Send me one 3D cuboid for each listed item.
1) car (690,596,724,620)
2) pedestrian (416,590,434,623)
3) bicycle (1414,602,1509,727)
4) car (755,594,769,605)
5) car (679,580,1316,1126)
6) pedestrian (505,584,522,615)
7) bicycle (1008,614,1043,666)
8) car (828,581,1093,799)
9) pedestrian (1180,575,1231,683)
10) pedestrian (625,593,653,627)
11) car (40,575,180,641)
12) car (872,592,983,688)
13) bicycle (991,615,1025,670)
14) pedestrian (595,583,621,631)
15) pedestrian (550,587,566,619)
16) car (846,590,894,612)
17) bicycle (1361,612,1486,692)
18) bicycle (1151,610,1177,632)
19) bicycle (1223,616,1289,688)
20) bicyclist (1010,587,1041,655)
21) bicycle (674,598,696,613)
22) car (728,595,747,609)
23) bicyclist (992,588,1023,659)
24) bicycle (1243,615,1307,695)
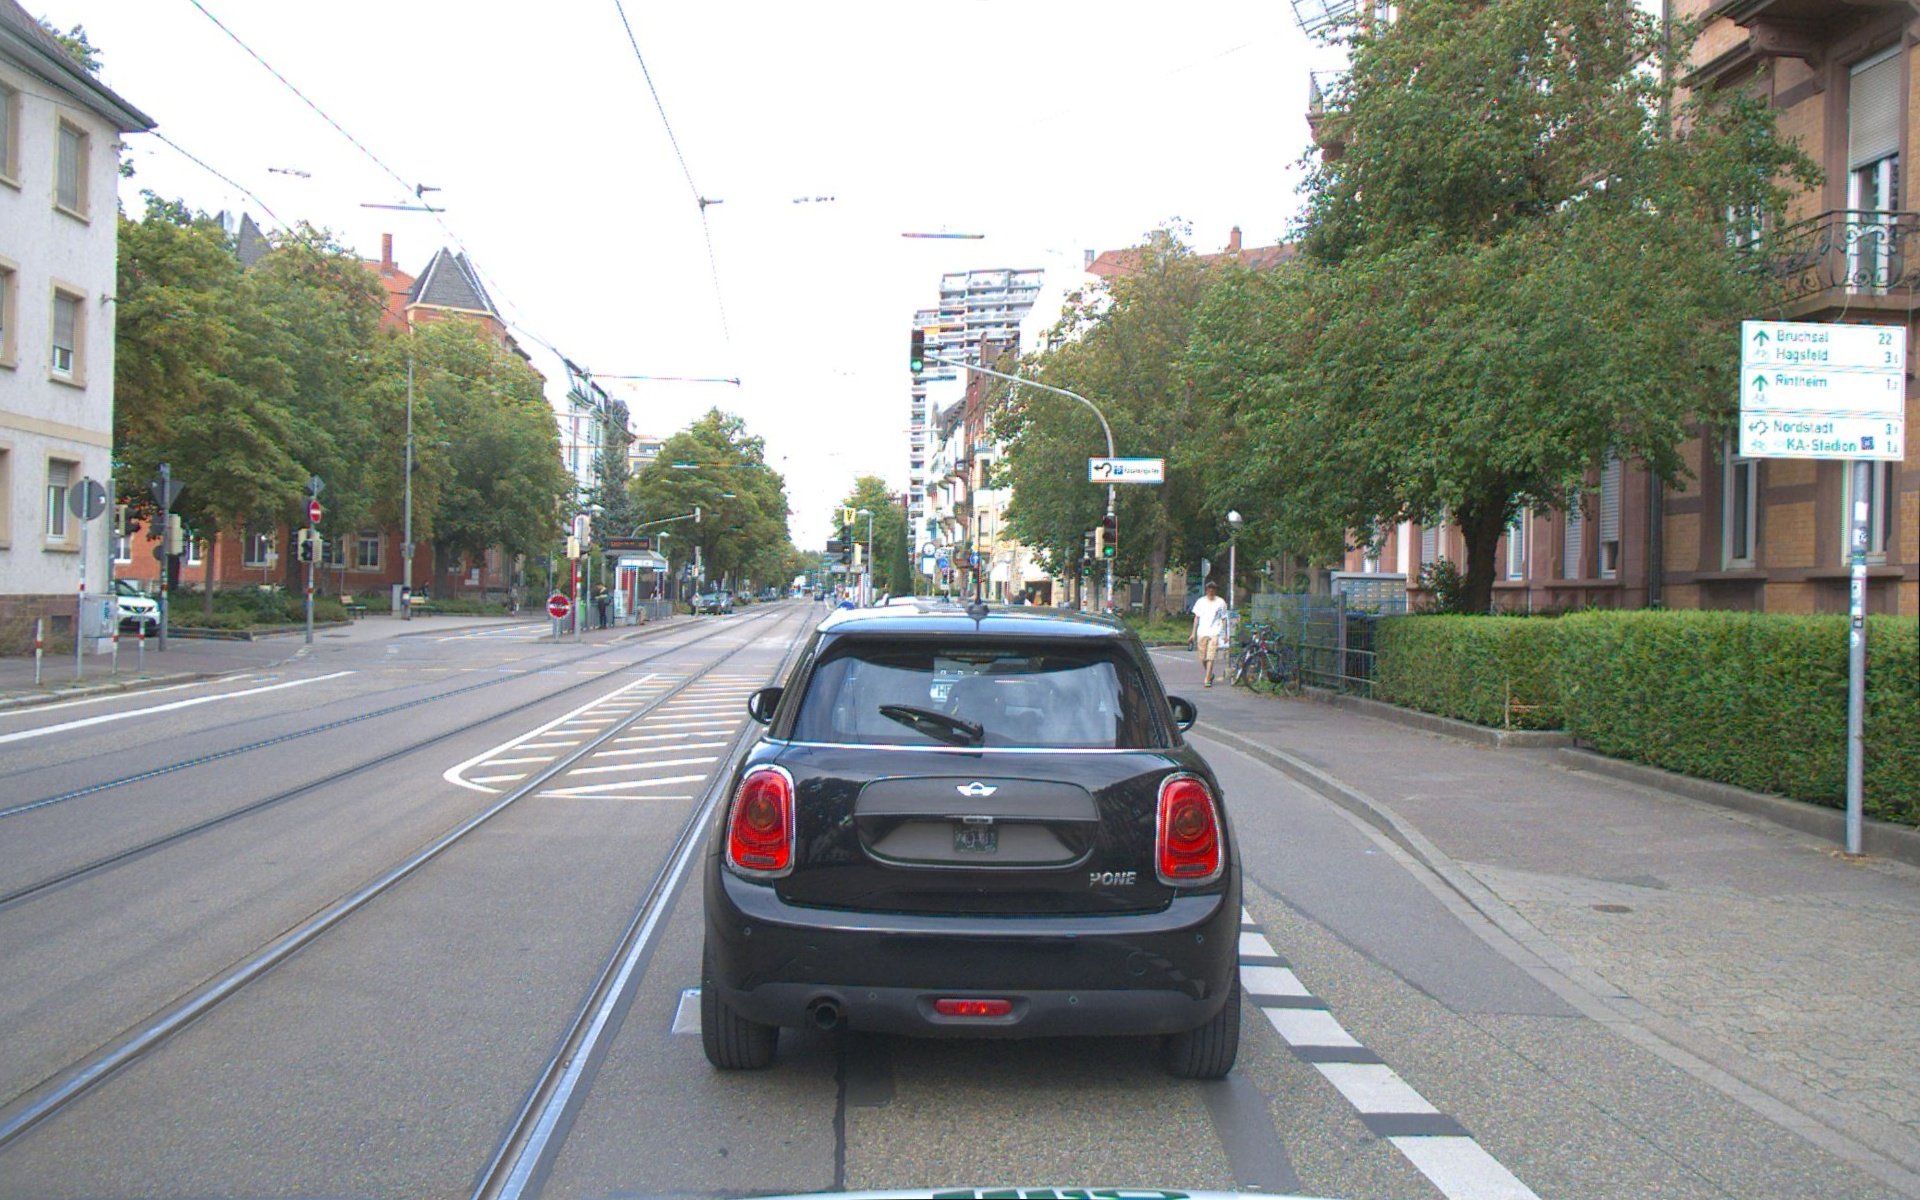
[{"bbox_3d":[-16.436,0.505,107.752,1.717,1.466,3.998,3,0,-3],"label":"car"},{"bbox_3d":[-28.820,0.343,89.122,0.817,1.733,0.731,1,0,-10],"label":"pedestrian"},{"bbox_3d":[5.512,0.683,18.251,0.505,1.304,1.549,1,0,-2],"label":"bicycle"},{"bbox_3d":[-31.165,-0.069,259.824,1.954,1.579,3.997,1,0,-4],"label":"car"},{"bbox_3d":[0.076,0.690,6.504,1.716,1.466,3.999,1,0,-1],"label":"car"},{"bbox_3d":[-25.102,-0.035,92.951,0.817,1.733,0.731,1,0,-10],"label":"pedestrian"},{"bbox_3d":[1.563,0.944,39.668,0.670,1.191,1.696,1,0,-2],"label":"bicycle"},{"bbox_3d":[-0.007,0.648,13.882,1.887,1.536,3.999,1,0,-1],"label":"car"},{"bbox_3d":[4.149,0.485,27.994,0.715,1.784,0.949,1,0,0],"label":"pedestrian"},{"bbox_3d":[-12.760,0.396,65.781,1.039,1.316,0.984,1,0,-10],"label":"pedestrian"},{"bbox_3d":[-23.978,0.265,46.615,4.075,1.751,1.834,-2,-3,36],"label":"car"},{"bbox_3d":[-0.583,0.624,28.050,1.716,1.466,4.477,1,0,-2],"label":"car"},{"bbox_3d":[1.075,0.947,37.341,0.586,1.191,1.695,1,0,-4],"label":"bicycle"},{"bbox_3d":[-12.309,0.237,57.823,0.836,1.649,0.841,1,0,-10],"label":"pedestrian"},{"bbox_3d":[-22.164,0.157,91.175,0.680,1.749,0.757,1,0,-3],"label":"pedestrian"},{"bbox_3d":[-9.870,0.144,181.061,2.357,2.312,5.003,1,0,45],"label":"car"},{"bbox_3d":[6.149,0.689,21.960,1.515,1.026,0.509,1,0,-7],"label":"bicycle"},{"bbox_3d":[10.951,1.130,88.751,0.522,1.147,1.885,1,0,37],"label":"bicycle"},{"bbox_3d":[4.866,0.840,27.269,0.658,1.125,1.670,1,0,-4],"label":"bicycle"},{"bbox_3d":[1.568,0.498,39.735,0.670,1.591,0.997,1,0,-3],"label":"bicyclist"},{"bbox_3d":[-21.335,0.406,128.214,1.659,1.138,0.564,1,0,-44],"label":"bicycle"},{"bbox_3d":[-26.535,0.267,197.120,1.954,1.579,3.997,1,0,-4],"label":"car"},{"bbox_3d":[1.079,0.524,37.338,0.583,1.577,1.013,1,0,-4],"label":"bicyclist"},{"bbox_3d":[4.658,0.795,24.523,0.498,1.107,1.549,-2,0,-4],"label":"bicycle"}]
